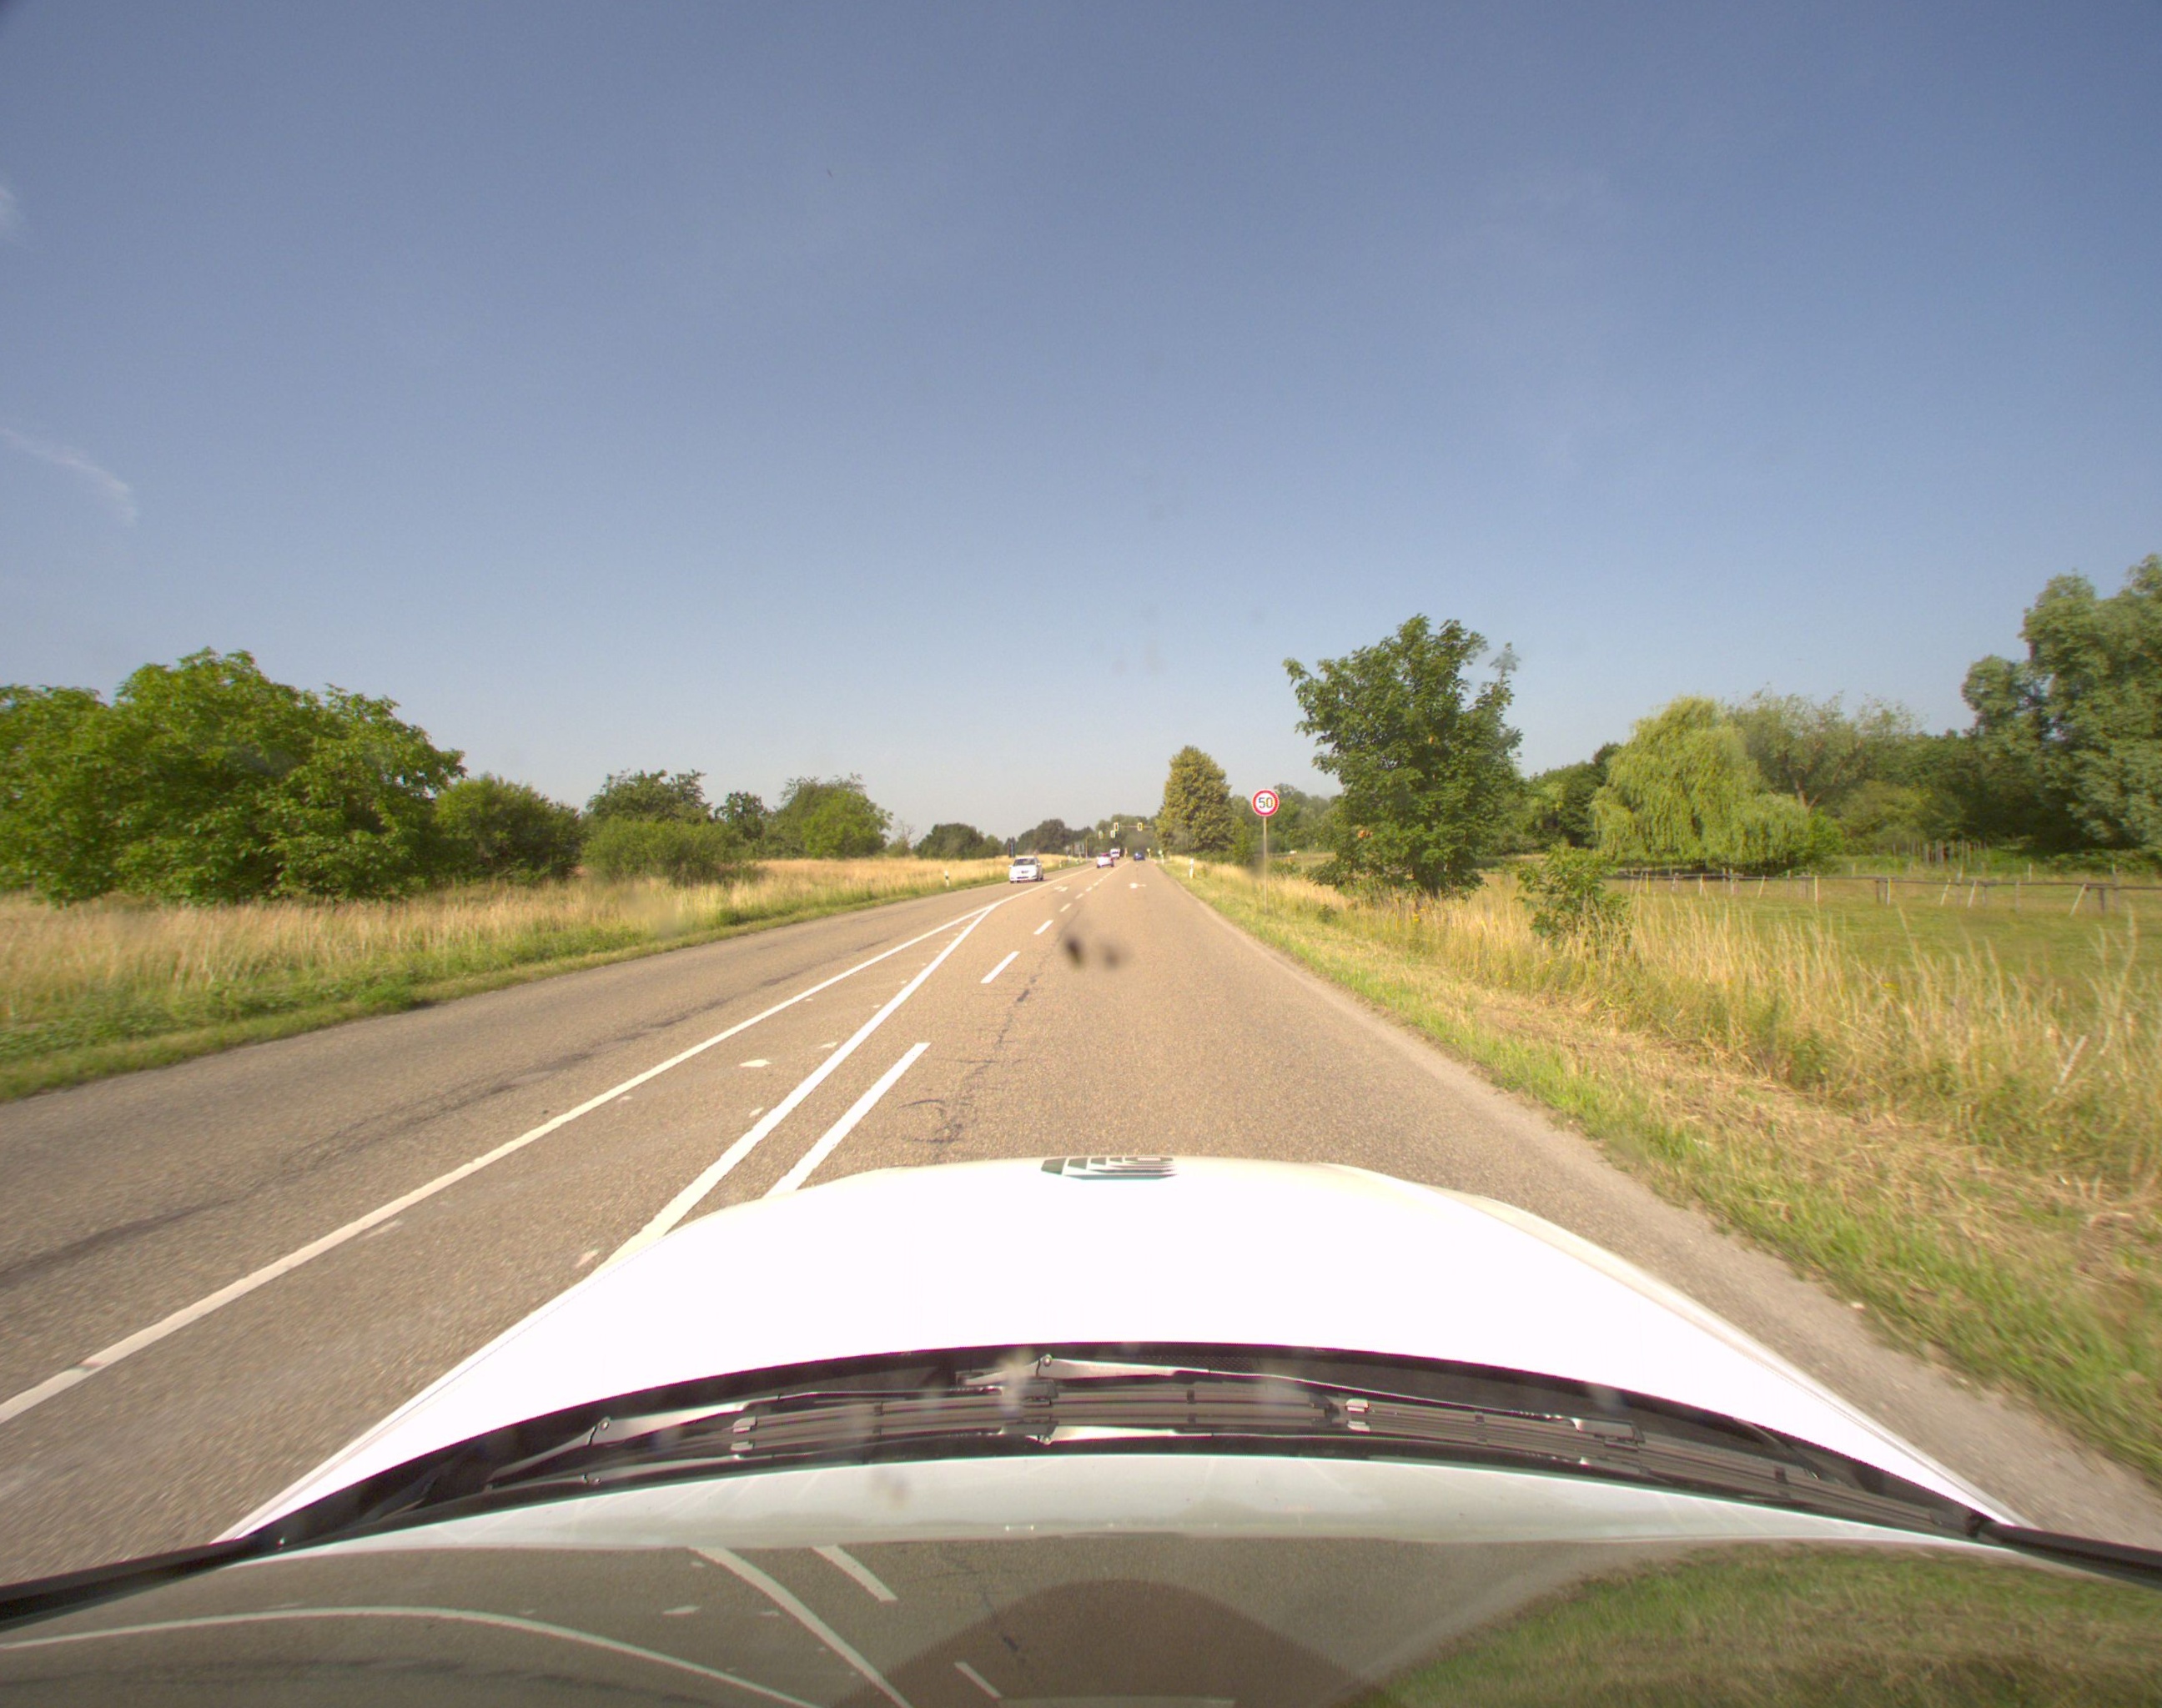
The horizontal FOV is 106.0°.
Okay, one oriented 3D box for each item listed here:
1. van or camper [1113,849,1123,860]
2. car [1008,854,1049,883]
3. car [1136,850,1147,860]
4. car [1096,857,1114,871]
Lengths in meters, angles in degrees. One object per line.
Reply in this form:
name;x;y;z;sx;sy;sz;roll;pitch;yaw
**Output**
van or camper;9.333;0.226;205.878;2.254;2.709;5.269;0;0;5
car;-3.272;0.900;51.350;1.803;1.585;4.231;-4;0;6
car;10.165;0.139;137.365;1.808;1.520;4.005;-2;0;4
car;2.691;1.097;90.678;1.891;1.512;4.004;0;0;3
